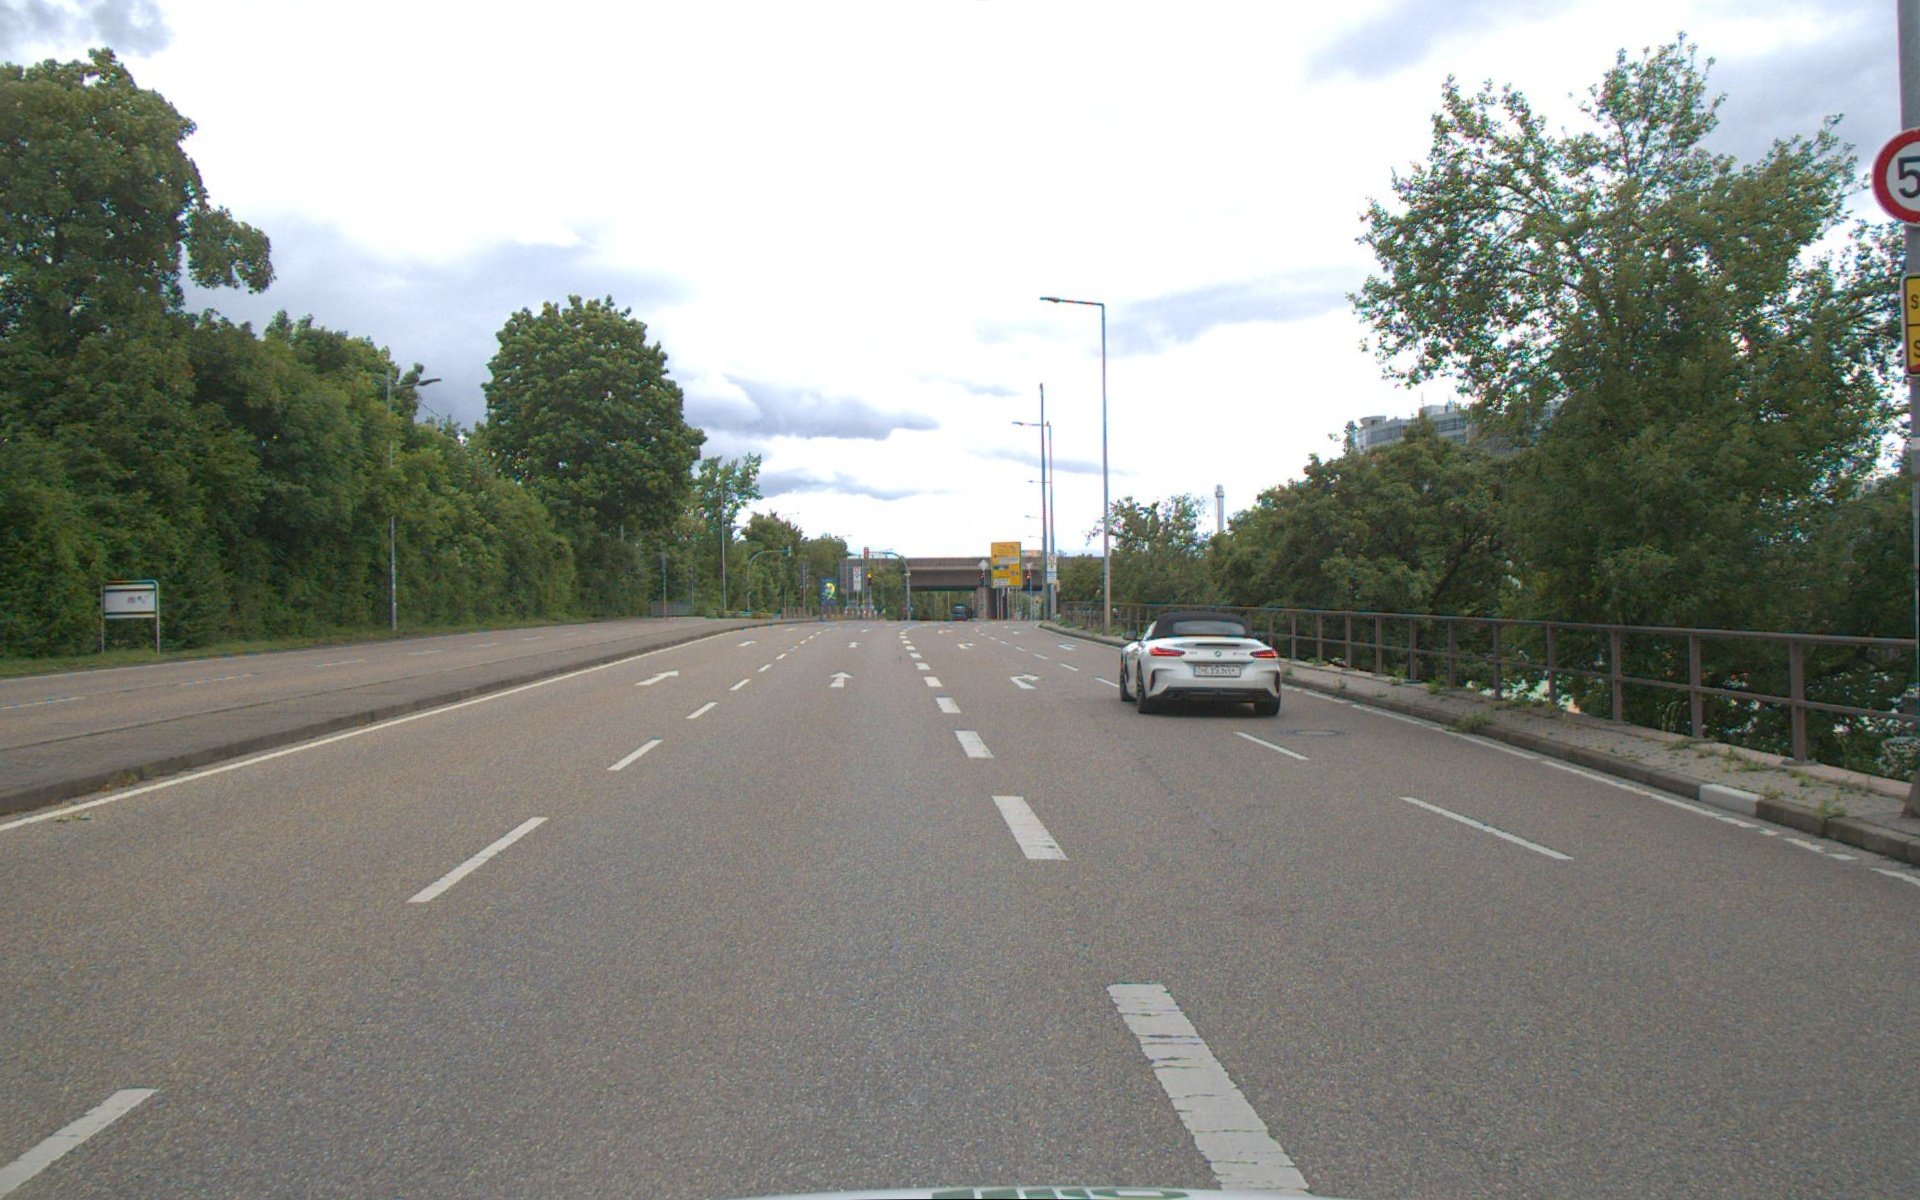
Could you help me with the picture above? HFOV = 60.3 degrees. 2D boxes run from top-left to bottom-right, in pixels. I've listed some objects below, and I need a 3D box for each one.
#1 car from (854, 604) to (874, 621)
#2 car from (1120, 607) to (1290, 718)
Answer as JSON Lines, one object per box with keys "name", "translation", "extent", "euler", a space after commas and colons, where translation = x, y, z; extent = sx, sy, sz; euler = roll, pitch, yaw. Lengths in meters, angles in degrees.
{"name": "car", "translation": [-9.582, 1.255, 165.505], "extent": [1.735, 1.661, 3.824], "euler": [1, -1, 0]}
{"name": "car", "translation": [3.250, 0.791, 22.601], "extent": [1.836, 1.332, 3.874], "euler": [2, 0, 2]}
